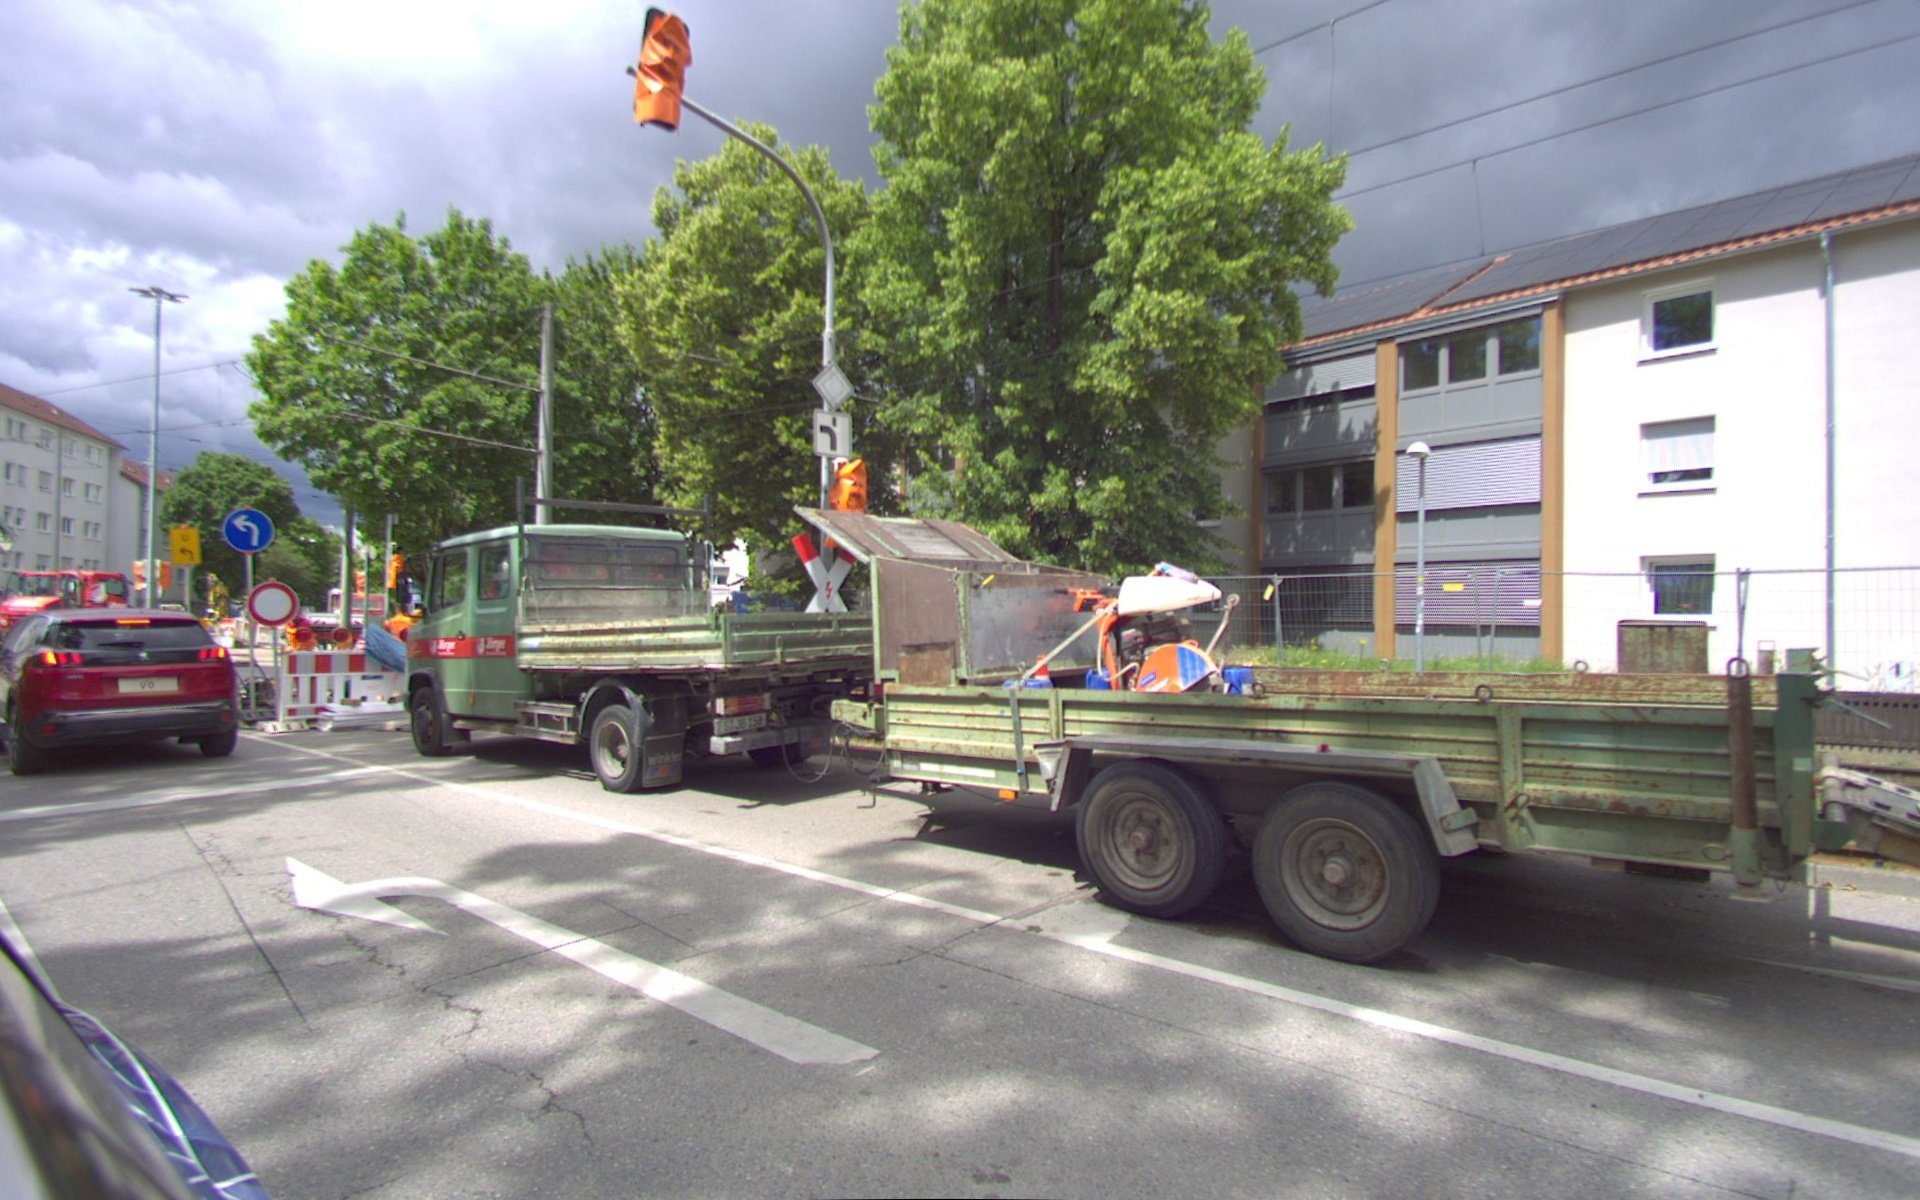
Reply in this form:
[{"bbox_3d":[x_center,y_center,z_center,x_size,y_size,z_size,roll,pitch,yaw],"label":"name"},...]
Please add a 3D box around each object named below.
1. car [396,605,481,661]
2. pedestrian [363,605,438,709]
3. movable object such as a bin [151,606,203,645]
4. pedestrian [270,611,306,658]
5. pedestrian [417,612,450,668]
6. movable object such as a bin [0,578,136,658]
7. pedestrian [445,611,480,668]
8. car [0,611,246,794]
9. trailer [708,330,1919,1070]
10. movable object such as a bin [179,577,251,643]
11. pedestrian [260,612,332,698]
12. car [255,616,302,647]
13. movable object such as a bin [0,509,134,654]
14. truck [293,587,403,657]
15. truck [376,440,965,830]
[{"bbox_3d":[-19.017,1.188,36.787,1.967,1.901,5.263,2,-2,-35],"label":"car"},{"bbox_3d":[-9.424,0.947,17.067,0.822,1.680,0.702,2,0,19],"label":"pedestrian"},{"bbox_3d":[-50.493,1.698,65.322,1.965,2.428,4.012,2,-3,-29],"label":"movable object such as a bin"},{"bbox_3d":[-24.660,1.261,37.174,0.860,1.672,0.931,0,-2,-17],"label":"pedestrian"},{"bbox_3d":[-14.742,1.111,28.332,0.784,1.553,0.765,1,-2,-27],"label":"pedestrian"},{"bbox_3d":[-32.847,0.640,37.014,2.080,2.689,5.603,1,-1,-15],"label":"movable object such as a bin"},{"bbox_3d":[-13.743,1.095,27.976,0.827,1.544,0.911,1,-2,-27],"label":"pedestrian"},{"bbox_3d":[-9.573,0.955,11.167,4.240,1.630,1.823,-1,-1,41],"label":"car"},{"bbox_3d":[1.463,0.373,6.049,6.244,2.230,2.635,-2,-1,41],"label":"trailer"},{"bbox_3d":[-54.259,0.833,73.847,2.777,4.570,6.229,1,-3,-24],"label":"movable object such as a bin"},{"bbox_3d":[-12.453,1.021,19.009,0.887,1.563,0.766,-1,-1,-7],"label":"pedestrian"},{"bbox_3d":[-45.793,2.137,68.129,1.965,2.029,5.927,2,-3,-28],"label":"car"},{"bbox_3d":[-38.033,-0.670,39.806,2.787,5.527,9.016,0,-2,7],"label":"movable object such as a bin"},{"bbox_3d":[-24.619,0.914,40.978,2.378,2.588,5.599,1,-2,-16],"label":"truck"},{"bbox_3d":[-3.251,0.317,10.219,6.392,2.746,2.634,-2,-1,41],"label":"truck"}]
